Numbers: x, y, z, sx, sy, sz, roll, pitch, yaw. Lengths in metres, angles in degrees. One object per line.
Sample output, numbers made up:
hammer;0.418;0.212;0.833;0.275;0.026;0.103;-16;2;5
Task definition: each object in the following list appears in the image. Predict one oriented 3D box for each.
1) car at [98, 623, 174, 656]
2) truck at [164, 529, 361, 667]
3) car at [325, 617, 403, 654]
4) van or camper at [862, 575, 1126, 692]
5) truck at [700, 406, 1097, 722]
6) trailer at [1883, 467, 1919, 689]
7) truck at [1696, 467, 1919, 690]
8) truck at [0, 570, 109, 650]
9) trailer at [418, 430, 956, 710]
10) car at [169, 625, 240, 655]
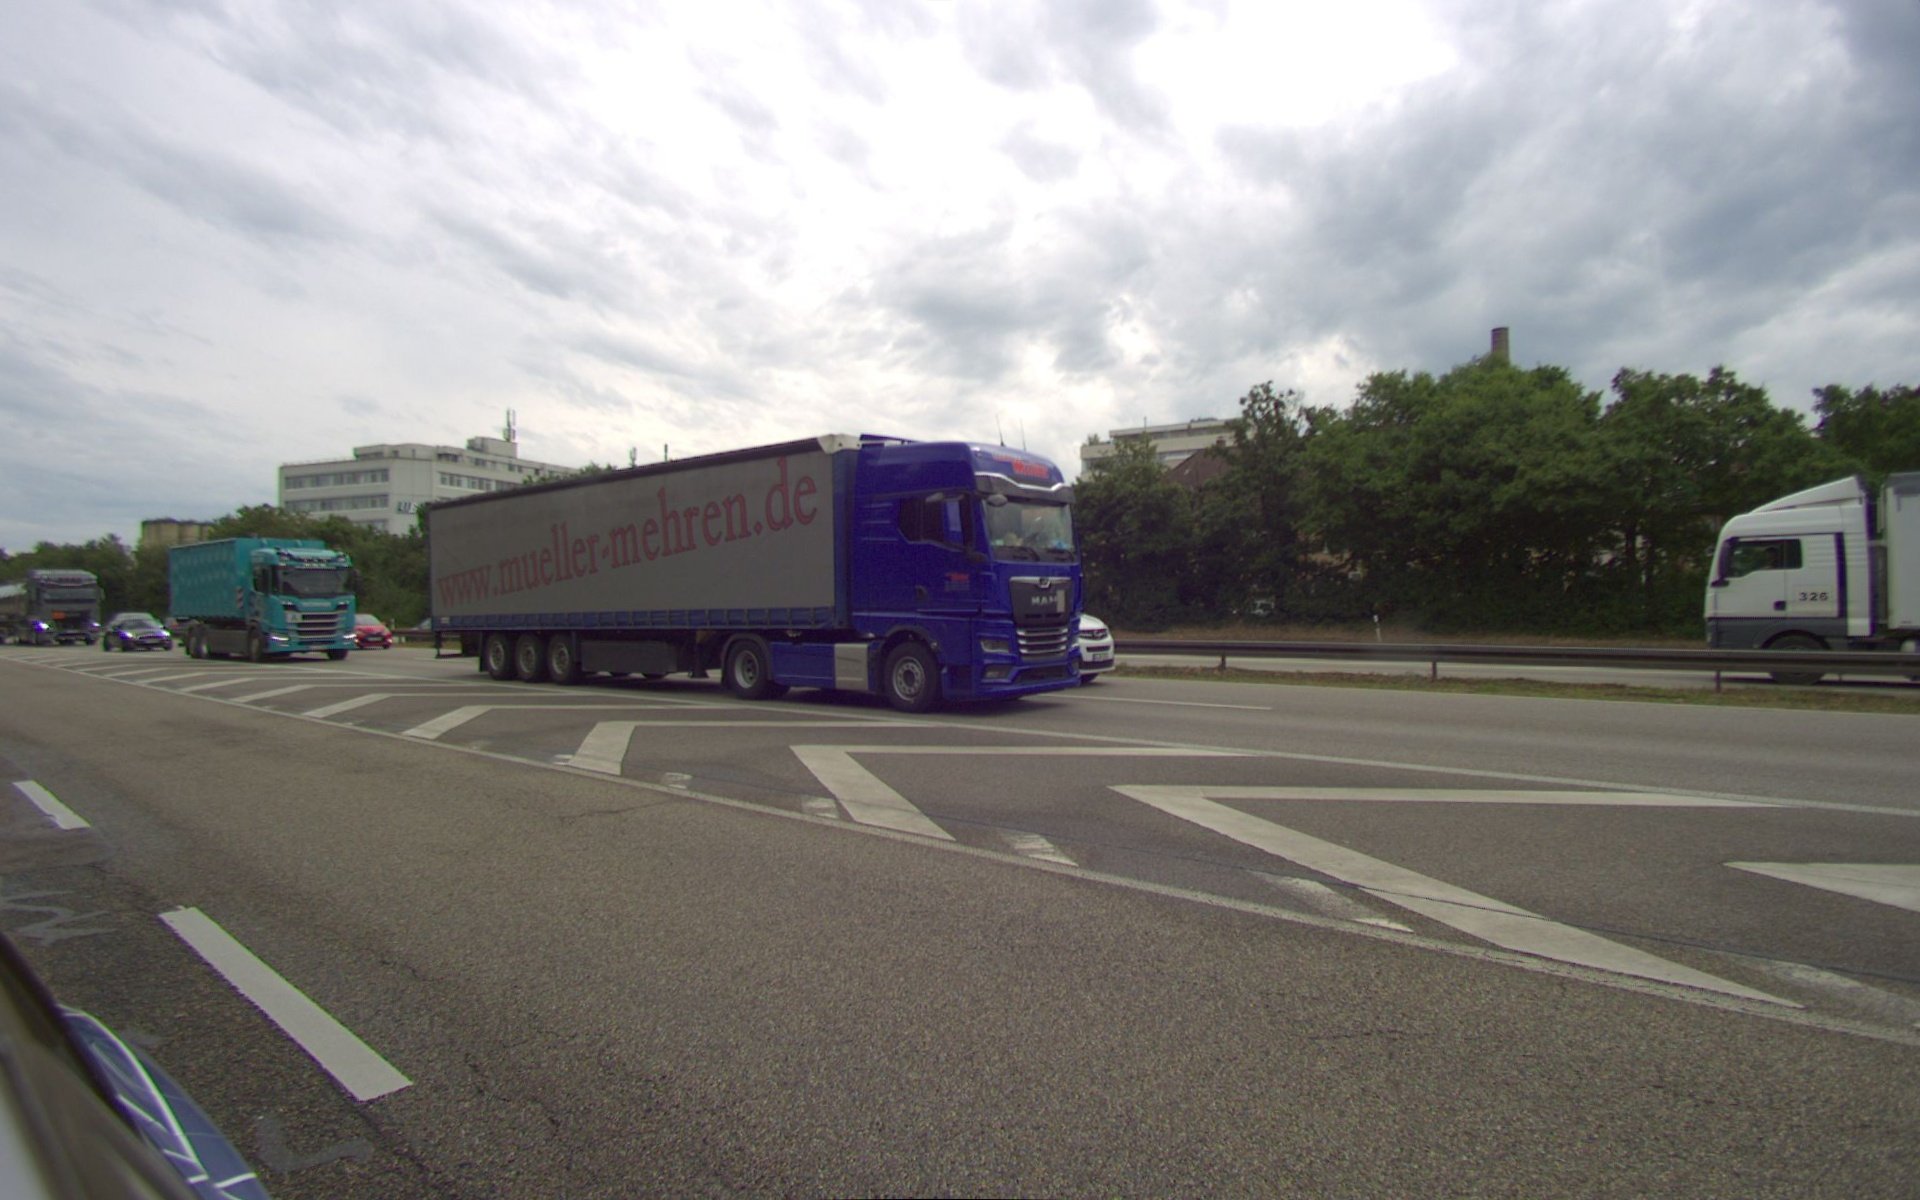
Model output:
car;-35.404;1.670;43.454;3.995;1.332;1.735;-1;-1;39
truck;-23.533;0.020;33.822;10.113;4.031;2.667;-1;-1;39
car;-24.212;1.421;41.072;3.446;1.429;1.724;-1;-1;41
van or camper;0.532;0.604;19.115;4.846;1.935;1.901;-1;-1;40
truck;-1.122;-0.408;15.663;5.921;3.991;2.642;-1;-1;39
trailer;23.081;-0.497;14.966;13.776;4.012;2.566;-1;-1;41
truck;17.243;-0.364;20.095;3.998;4.021;2.569;-1;-1;41
truck;-50.461;0.605;55.278;13.123;3.955;3.288;-1;-1;37
trailer;-6.276;-0.313;19.899;13.906;4.005;2.646;-1;-1;39
car;-38.597;2.010;51.668;4.049;1.444;1.875;-1;-1;38
